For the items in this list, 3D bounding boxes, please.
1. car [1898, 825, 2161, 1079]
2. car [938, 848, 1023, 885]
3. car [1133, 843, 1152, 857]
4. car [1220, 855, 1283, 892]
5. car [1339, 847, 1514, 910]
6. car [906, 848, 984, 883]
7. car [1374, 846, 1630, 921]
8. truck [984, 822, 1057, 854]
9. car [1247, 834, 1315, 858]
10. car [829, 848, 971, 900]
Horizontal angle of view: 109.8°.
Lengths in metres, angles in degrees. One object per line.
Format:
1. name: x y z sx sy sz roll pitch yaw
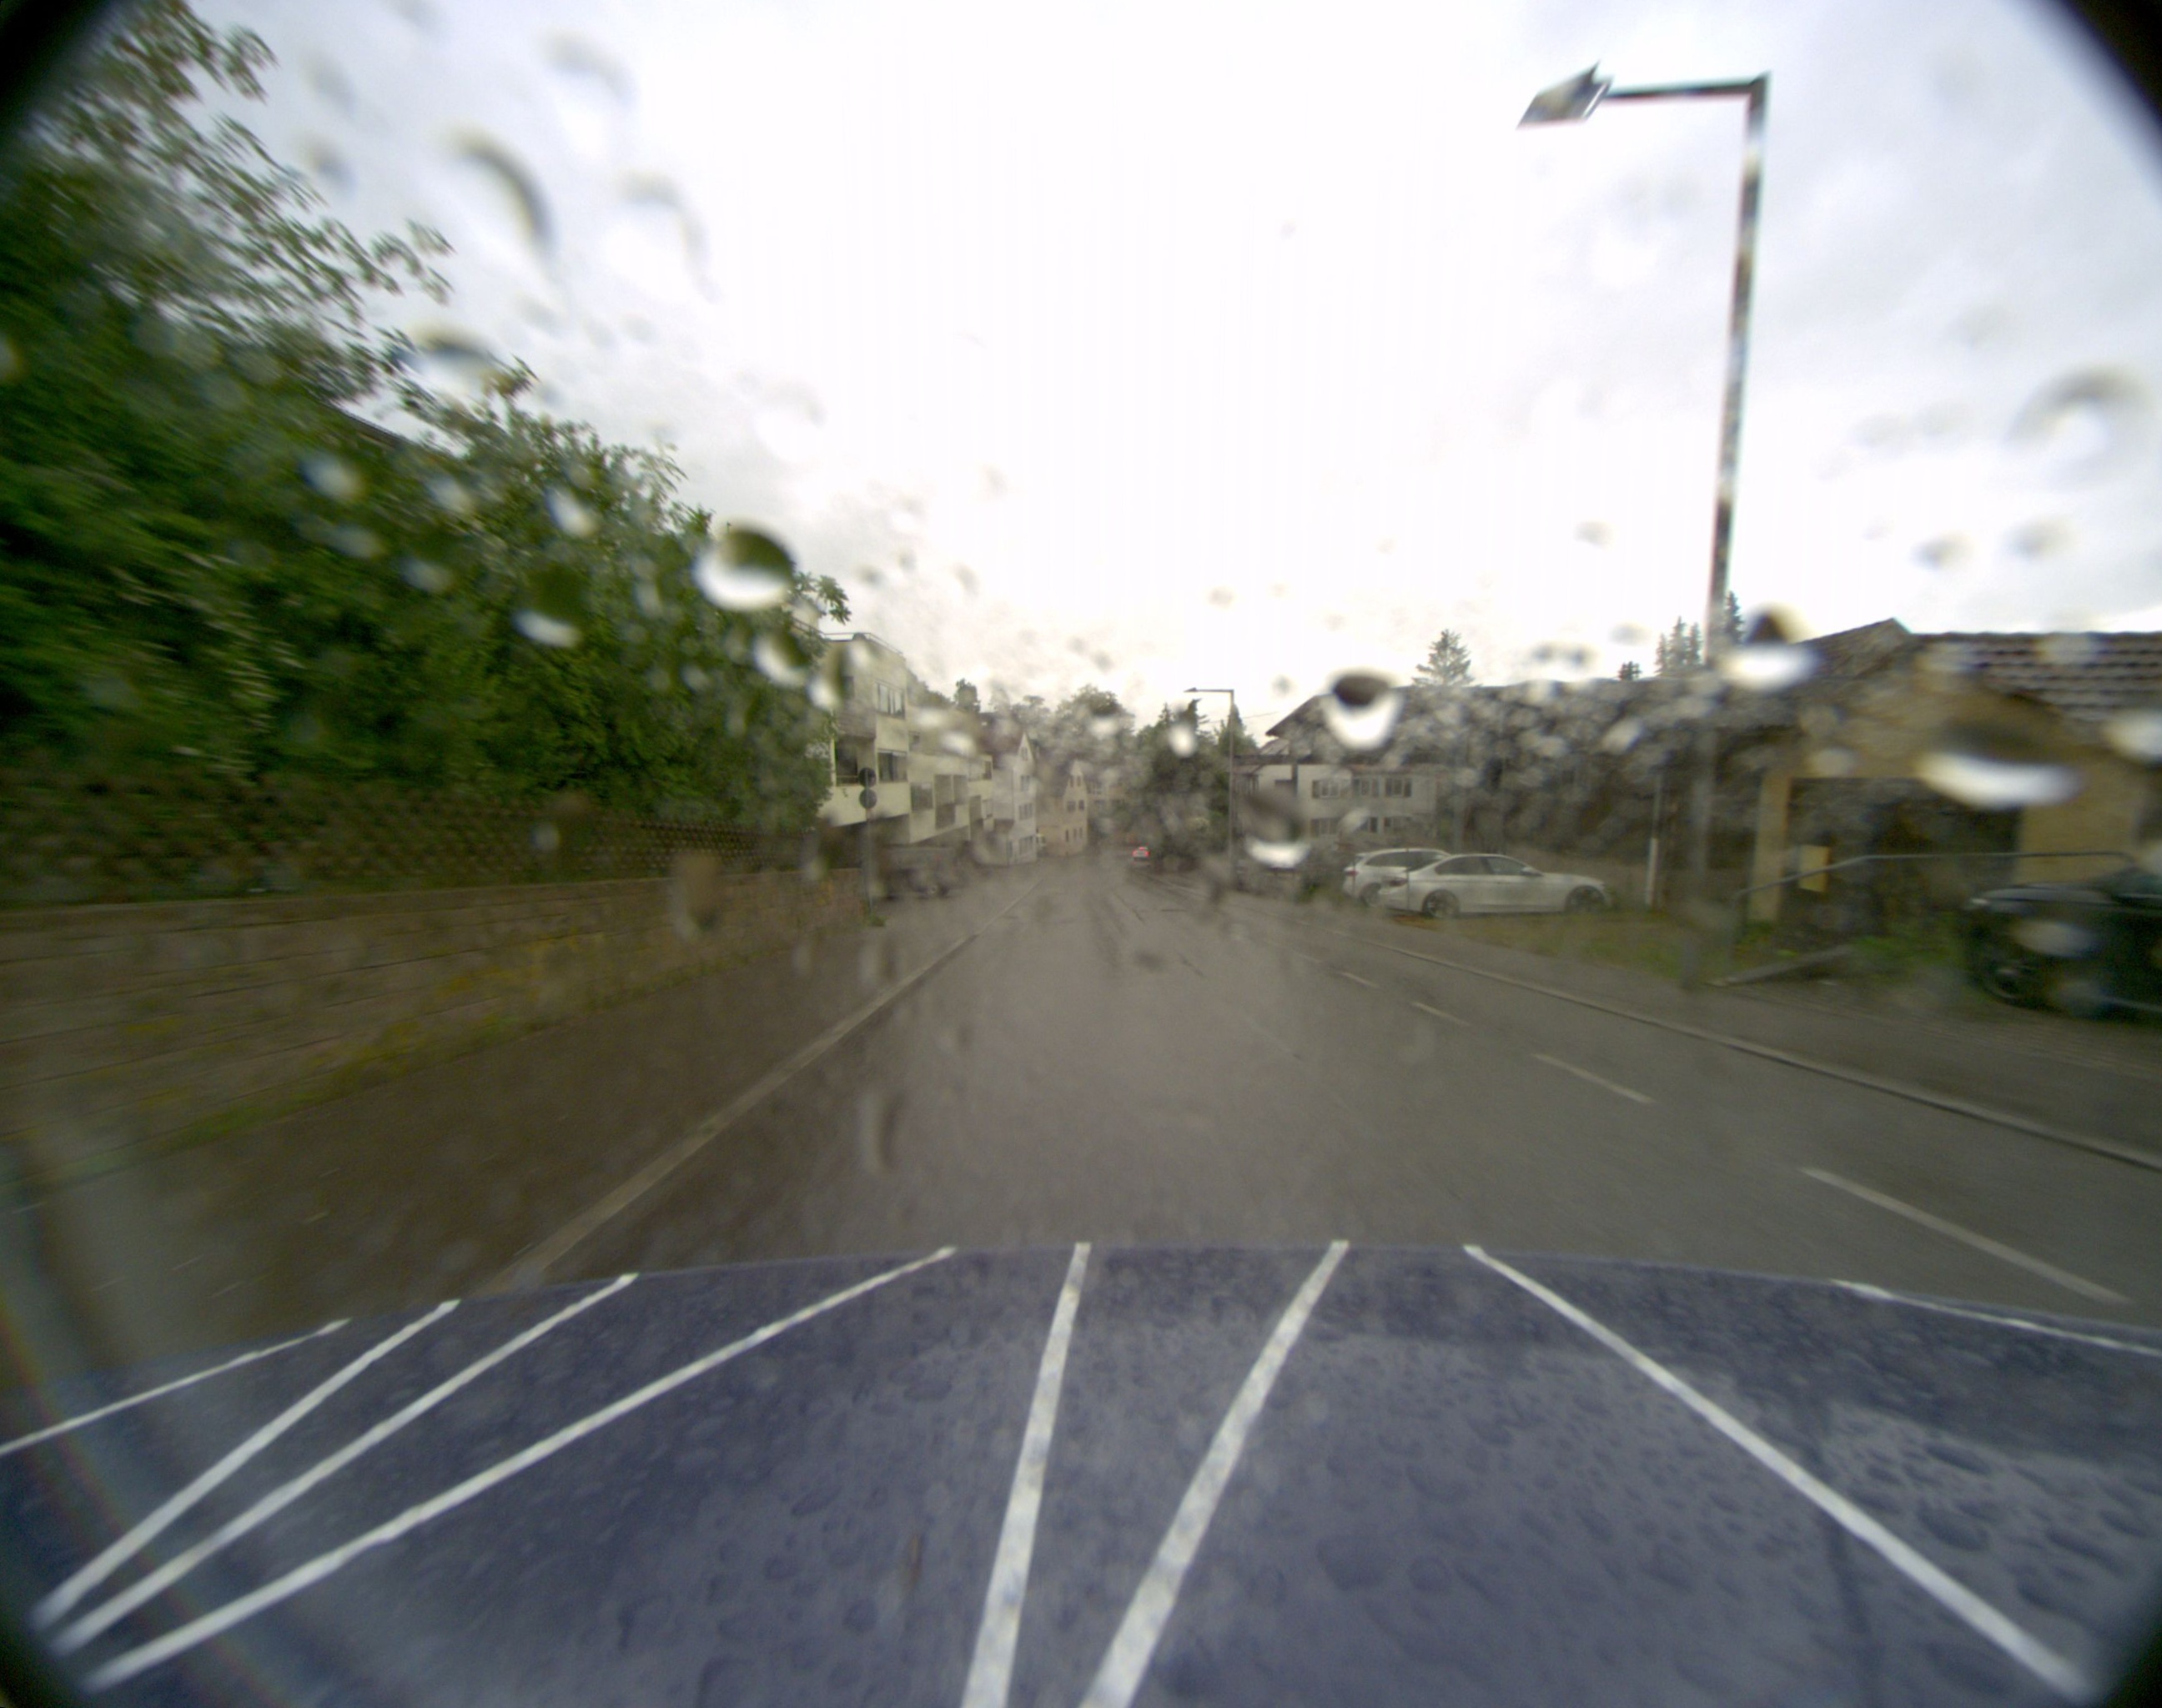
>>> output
1. car: 7.887 0.639 4.295 1.977 1.650 4.967 0 1 13
2. car: -4.941 0.597 37.759 1.783 1.569 4.074 -2 1 38
3. car: 6.737 -0.436 82.842 1.705 1.380 4.053 2 2 9
4. car: 7.525 0.817 34.011 1.899 1.433 4.445 1 1 1
5. car: 8.846 0.593 19.833 3.991 1.496 1.903 0 1 19
6. car: -6.970 0.582 39.223 1.783 1.569 4.073 -2 1 27
7. car: 8.905 0.585 16.511 4.503 1.496 1.902 0 1 12
8. truck: -6.276 -1.693 78.688 6.964 2.688 2.142 5 3 14
9. car: 13.083 -0.534 49.934 3.997 1.500 1.802 0 4 1
10. car: -6.536 0.702 27.863 4.720 1.810 1.999 0 1 -1
